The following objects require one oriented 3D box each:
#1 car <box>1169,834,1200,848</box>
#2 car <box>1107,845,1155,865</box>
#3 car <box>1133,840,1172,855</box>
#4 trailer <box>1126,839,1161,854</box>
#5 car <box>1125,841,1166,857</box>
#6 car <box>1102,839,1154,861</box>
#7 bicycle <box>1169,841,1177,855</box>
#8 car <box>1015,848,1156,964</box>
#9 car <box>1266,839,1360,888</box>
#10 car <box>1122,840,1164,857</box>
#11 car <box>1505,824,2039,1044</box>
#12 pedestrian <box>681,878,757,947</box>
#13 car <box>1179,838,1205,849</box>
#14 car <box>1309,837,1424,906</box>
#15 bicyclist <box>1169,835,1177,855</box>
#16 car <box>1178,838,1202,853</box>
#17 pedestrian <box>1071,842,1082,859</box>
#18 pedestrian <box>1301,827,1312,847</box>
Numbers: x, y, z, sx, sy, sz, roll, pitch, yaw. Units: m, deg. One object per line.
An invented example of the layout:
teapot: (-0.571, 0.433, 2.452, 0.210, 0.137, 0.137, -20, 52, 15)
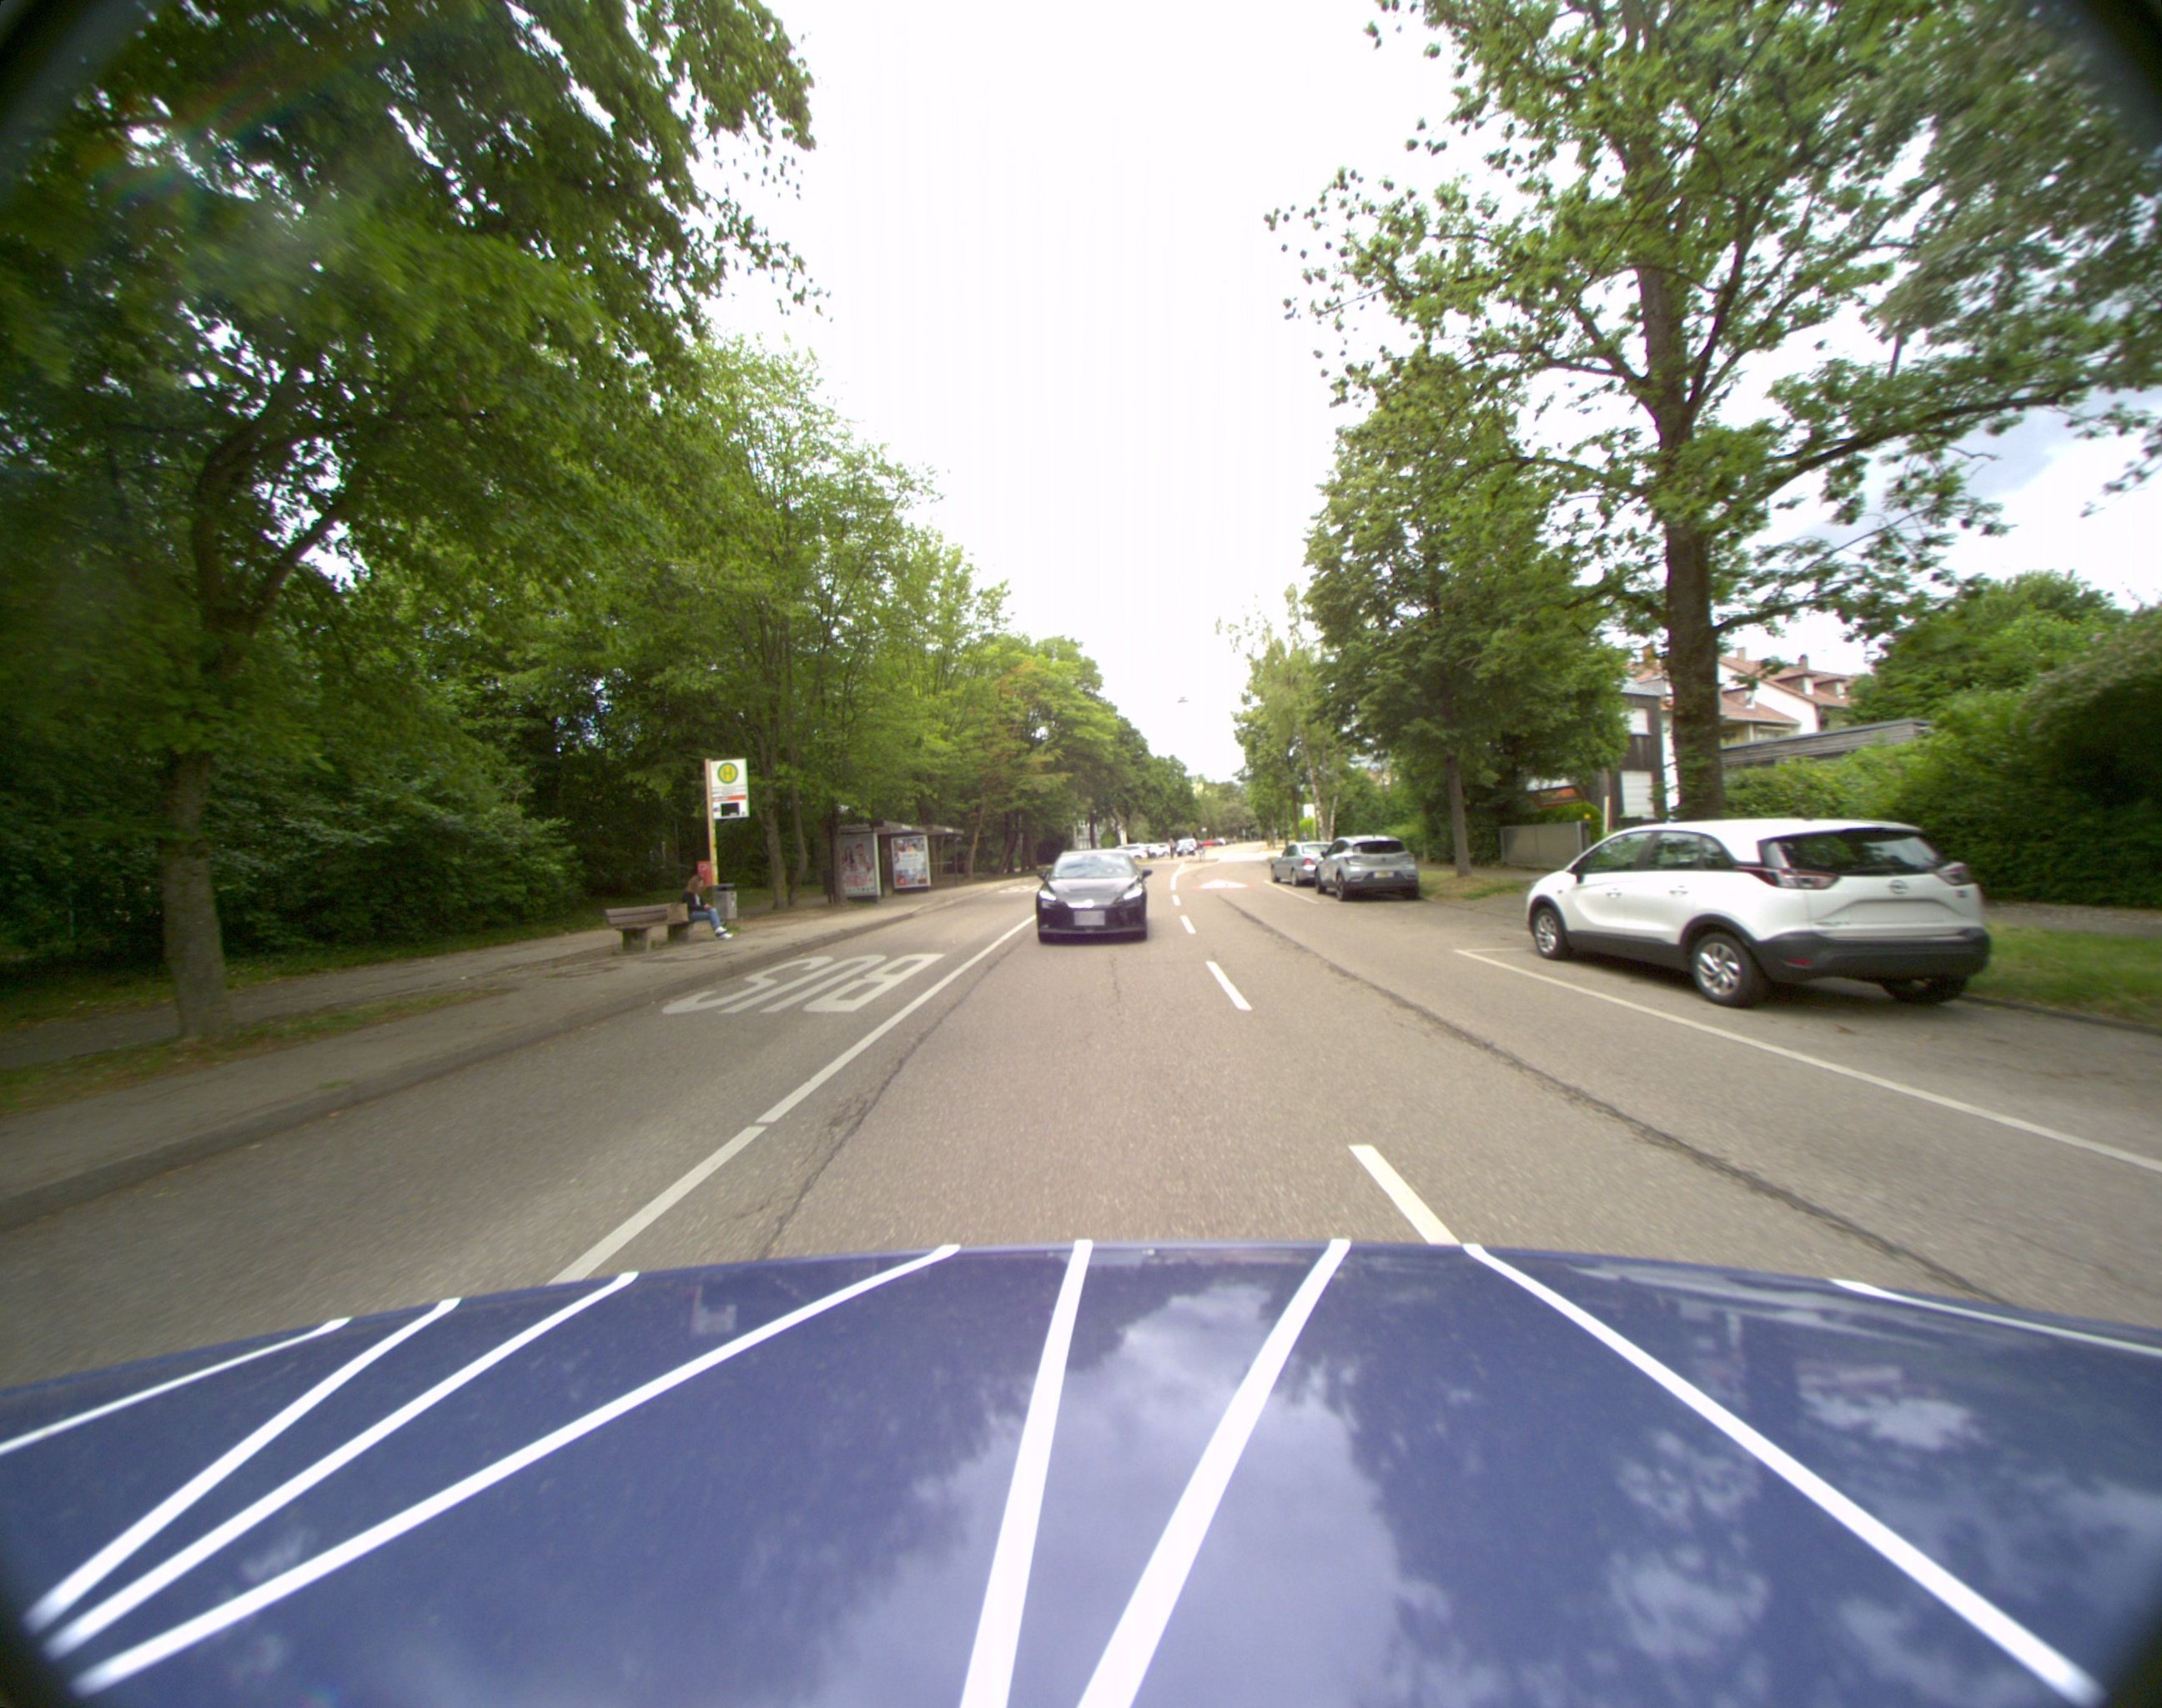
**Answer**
car: (15.943, -1.958, 117.048, 4.221, 1.748, 1.857, -5, 1, -8)
car: (4.563, 0.059, 69.798, 4.144, 1.456, 1.797, -5, 1, -3)
car: (8.261, -0.756, 87.956, 4.002, 1.456, 1.848, -5, 1, -16)
trailer: (7.430, -0.946, 90.628, 3.998, 1.543, 1.658, -4, 1, -2)
car: (6.994, -0.562, 82.781, 4.000, 1.456, 1.794, -5, 1, -9)
car: (4.198, -0.340, 67.710, 4.478, 1.576, 1.907, -5, 1, 3)
bicycle: (8.428, -0.561, 69.858, 0.647, 1.230, 1.878, -3, 1, 5)
car: (0.241, 0.729, 12.538, 1.812, 1.484, 3.794, -3, 1, 7)
car: (7.509, 0.245, 25.053, 1.740, 1.408, 4.471, -2, 1, 0)
car: (6.554, -0.530, 80.165, 4.000, 1.456, 1.864, -5, 1, -9)
car: (6.189, 0.560, 7.613, 1.739, 1.569, 4.141, -2, 1, 3)
pedestrian: (-6.609, 1.056, 13.902, 1.066, 1.175, 0.580, -2, 1, 1)
car: (17.921, -1.718, 122.460, 3.854, 1.426, 1.655, -5, 1, 2)
car: (7.088, 0.364, 19.316, 1.739, 1.529, 4.191, -2, 1, 6)
bicyclist: (8.417, -0.834, 69.737, 0.647, 1.769, 0.628, -3, 2, 5)
car: (11.379, -0.922, 79.115, 1.859, 1.366, 4.080, -3, 1, 17)
pedestrian: (-0.464, -0.342, 76.497, 0.692, 1.634, 0.779, -3, 1, 35)
pedestrian: (20.161, -1.519, 68.009, 0.693, 1.701, 0.778, -3, 1, 7)
